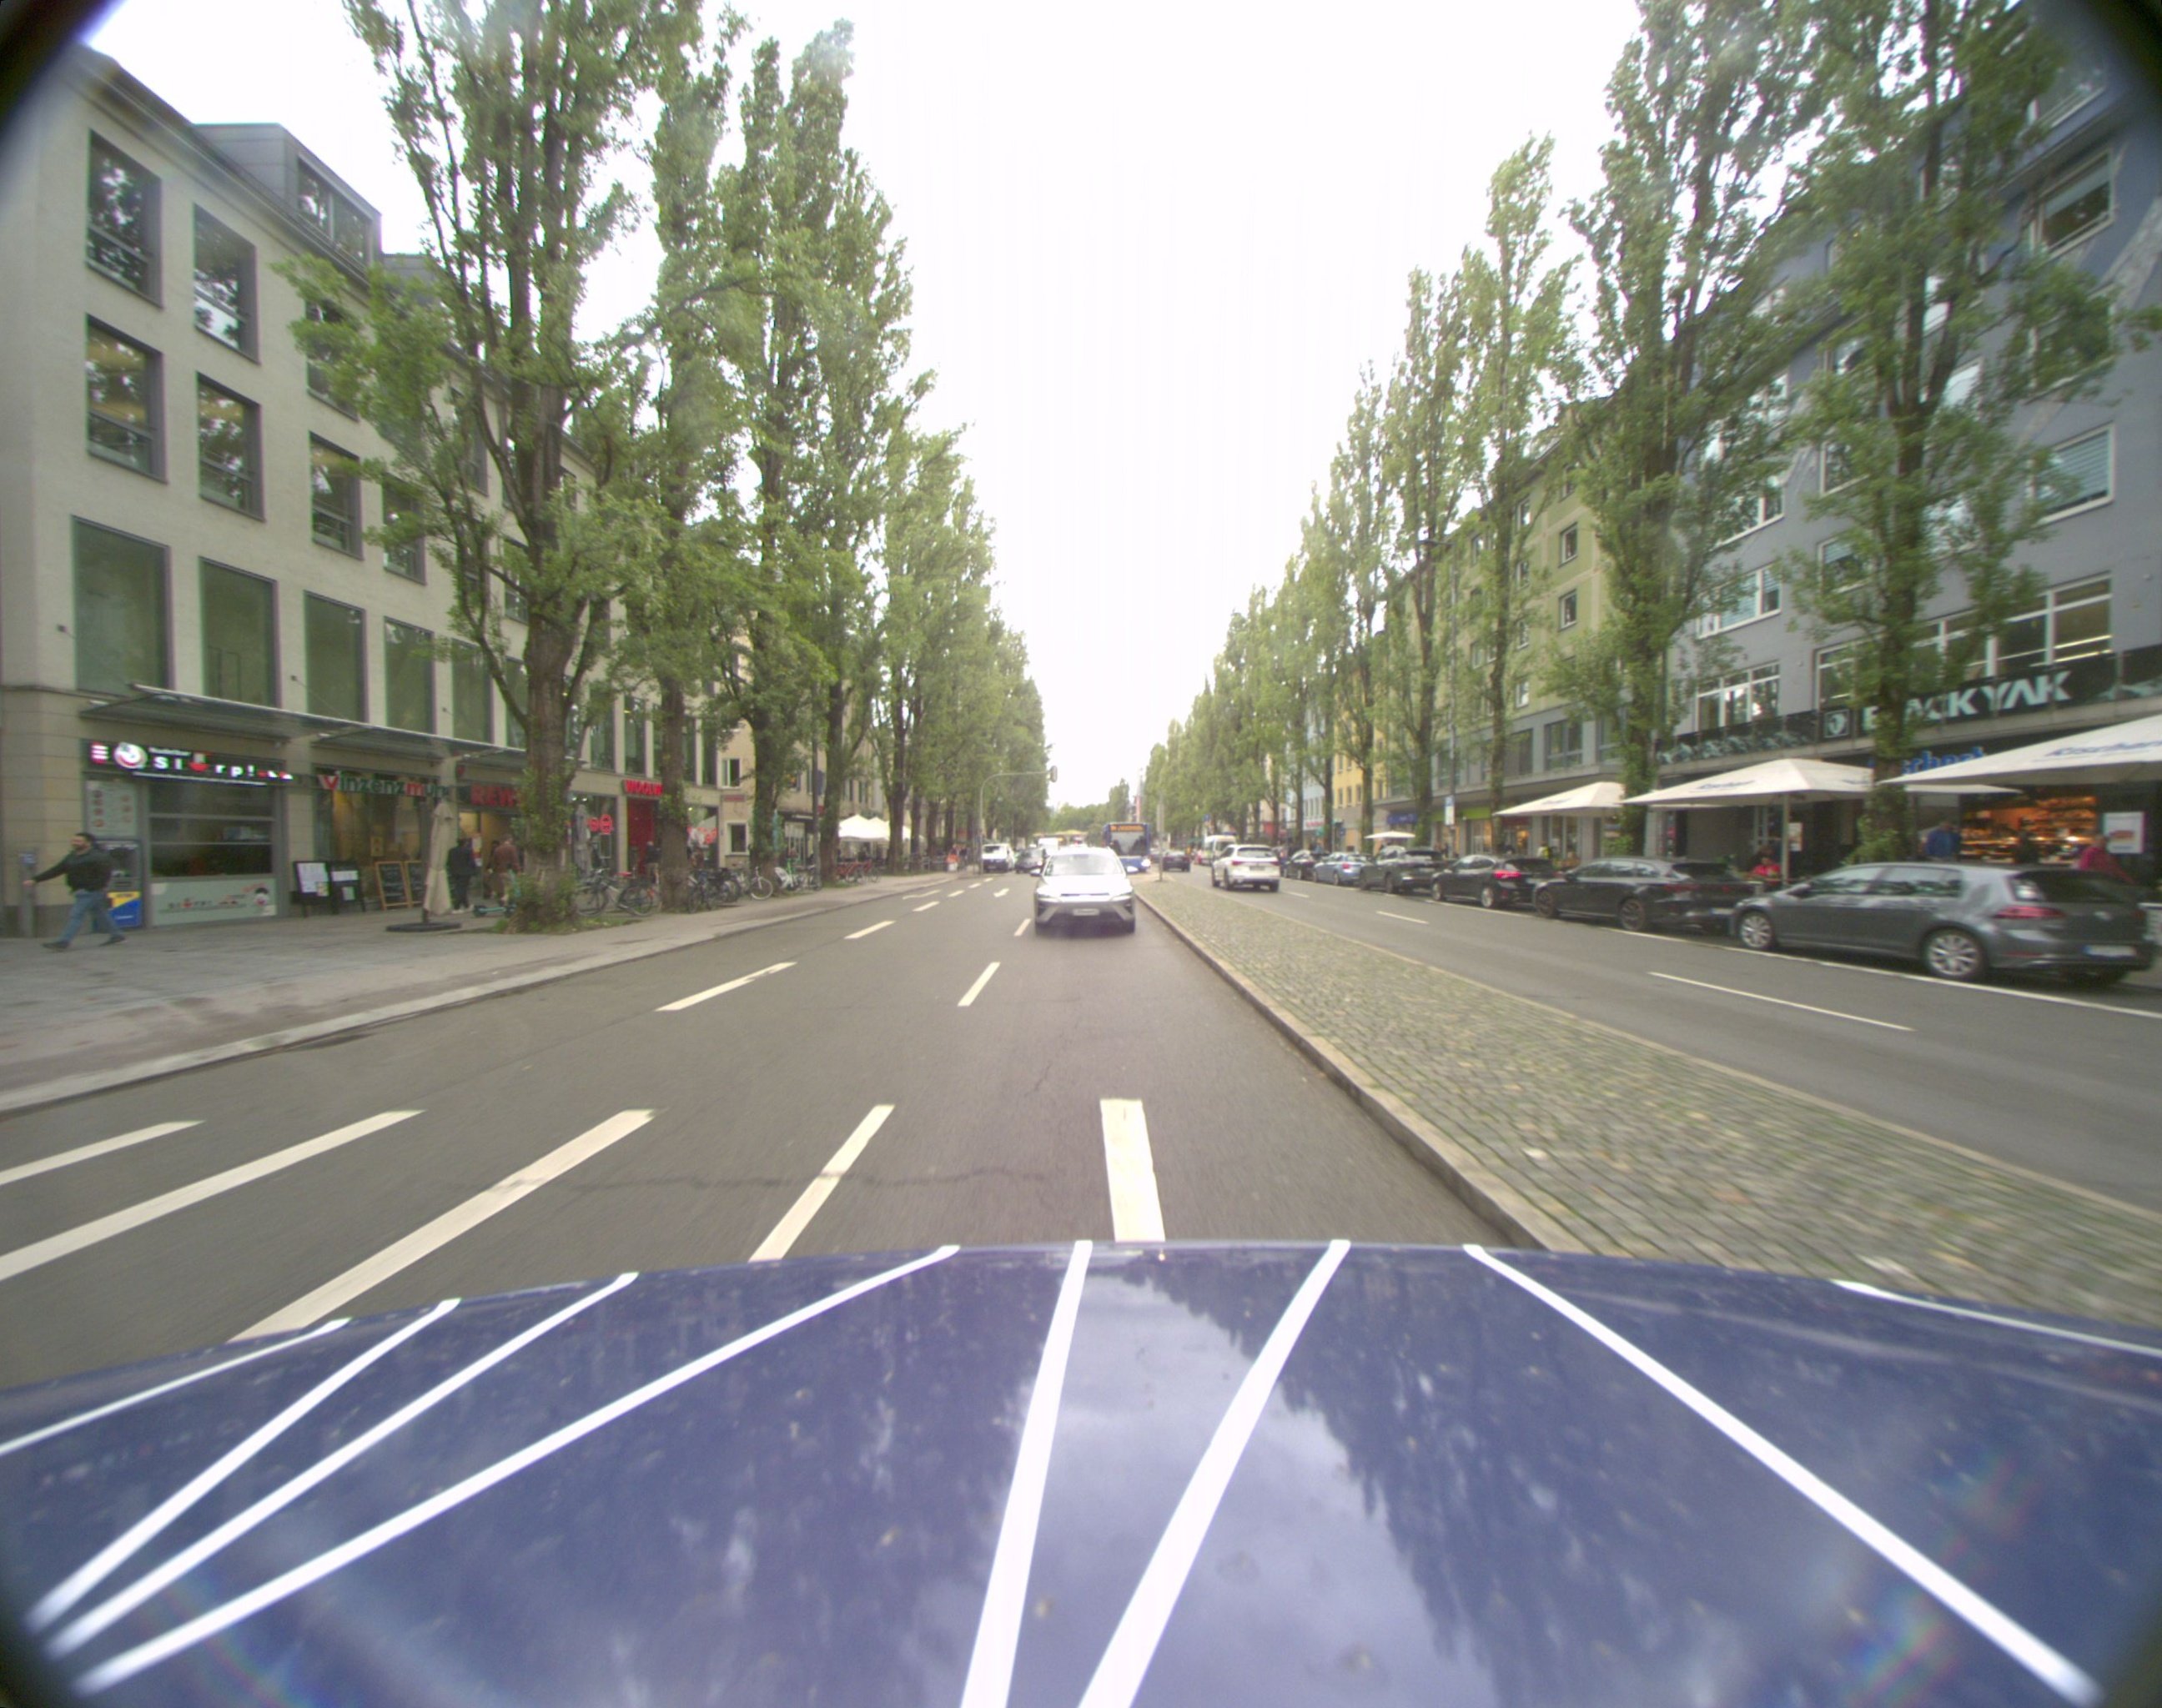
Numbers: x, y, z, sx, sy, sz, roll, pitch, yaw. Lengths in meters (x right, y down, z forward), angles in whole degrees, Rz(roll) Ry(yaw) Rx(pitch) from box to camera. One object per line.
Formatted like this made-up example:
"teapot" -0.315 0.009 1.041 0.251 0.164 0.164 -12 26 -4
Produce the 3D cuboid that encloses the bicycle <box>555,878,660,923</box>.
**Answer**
"bicycle" -10.762 1.040 17.318 2.006 0.940 0.285 -1 2 -16

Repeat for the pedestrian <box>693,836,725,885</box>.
"pedestrian" -14.486 0.249 29.598 0.753 1.859 0.821 0 1 3

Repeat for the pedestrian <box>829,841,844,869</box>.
"pedestrian" -15.305 0.058 47.566 0.629 1.709 0.680 -1 1 1

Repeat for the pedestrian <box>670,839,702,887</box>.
"pedestrian" -15.512 0.353 29.843 0.753 1.843 0.821 -1 1 2

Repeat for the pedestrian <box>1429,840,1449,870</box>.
"pedestrian" 19.258 0.046 40.910 0.723 1.641 0.711 0 1 1

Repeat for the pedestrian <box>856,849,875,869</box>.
"pedestrian" -13.515 0.294 47.704 0.775 1.209 1.023 -1 1 4

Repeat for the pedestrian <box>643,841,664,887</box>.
"pedestrian" -16.906 0.389 30.040 0.596 1.757 0.640 -2 2 -21

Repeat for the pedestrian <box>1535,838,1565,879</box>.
"pedestrian" 20.237 0.195 32.808 0.820 1.745 0.756 -1 1 1

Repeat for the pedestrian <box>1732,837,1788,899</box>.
"pedestrian" 17.772 0.348 19.898 0.755 1.592 0.743 0 1 -1

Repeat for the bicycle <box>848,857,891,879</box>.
"bicycle" -9.913 0.659 35.603 1.844 1.003 0.503 0 1 1

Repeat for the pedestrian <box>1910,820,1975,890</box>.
"pedestrian" 21.811 0.023 19.255 0.742 1.745 0.756 0 1 1

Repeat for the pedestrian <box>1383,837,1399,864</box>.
"pedestrian" 20.355 -0.224 49.846 0.749 1.785 0.715 -1 1 1

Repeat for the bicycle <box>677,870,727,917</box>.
"bicycle" -9.697 0.984 19.519 0.435 1.055 2.004 0 1 -5

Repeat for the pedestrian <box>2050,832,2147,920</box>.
"pedestrian" 18.943 0.393 14.170 0.742 1.592 0.756 0 1 2

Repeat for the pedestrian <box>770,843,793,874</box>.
"pedestrian" -15.739 0.235 39.924 0.764 1.595 1.016 -1 1 1

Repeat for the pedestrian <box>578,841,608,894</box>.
"pedestrian" -16.320 0.435 25.414 0.548 1.757 0.641 -1 1 0

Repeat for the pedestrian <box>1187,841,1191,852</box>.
"pedestrian" 14.889 -1.058 104.856 0.609 1.580 0.551 0 2 11

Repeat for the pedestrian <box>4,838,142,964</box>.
"pedestrian" -15.183 0.660 11.487 0.814 1.804 0.979 -1 2 -21

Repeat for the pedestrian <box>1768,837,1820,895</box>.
"pedestrian" 20.326 0.337 21.680 0.742 1.631 0.756 0 1 2

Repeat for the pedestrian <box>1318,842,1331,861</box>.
"pedestrian" 18.585 -0.219 58.015 0.769 1.430 0.550 0 2 -4

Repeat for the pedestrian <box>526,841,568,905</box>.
"pedestrian" -14.998 0.515 21.349 0.658 1.774 0.674 0 1 2

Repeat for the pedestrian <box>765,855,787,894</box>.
"pedestrian" -12.918 0.856 32.182 0.547 1.639 0.751 -1 1 3

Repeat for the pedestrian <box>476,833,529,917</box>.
"pedestrian" -13.825 0.495 18.176 0.658 1.960 0.722 0 1 3

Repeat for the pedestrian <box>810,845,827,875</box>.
"pedestrian" -14.791 0.336 42.784 0.668 1.654 0.692 -1 1 0

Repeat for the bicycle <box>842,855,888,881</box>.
"bicycle" -9.854 0.641 34.677 1.902 1.120 0.686 -1 1 1

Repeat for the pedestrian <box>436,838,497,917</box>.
"pedestrian" -14.621 0.536 18.105 0.658 1.840 0.905 0 1 2

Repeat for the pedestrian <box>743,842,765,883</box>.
"pedestrian" -13.913 0.364 32.347 0.566 1.732 0.696 -1 1 3

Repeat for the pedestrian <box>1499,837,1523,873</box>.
"pedestrian" 20.220 0.053 35.719 0.710 1.663 0.756 -1 1 1

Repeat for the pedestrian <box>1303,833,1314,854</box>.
"pedestrian" 19.489 -0.888 65.002 0.732 1.755 0.723 0 1 -1

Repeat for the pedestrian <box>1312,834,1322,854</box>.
"pedestrian" 20.242 -0.885 65.162 0.640 1.694 0.724 0 1 0

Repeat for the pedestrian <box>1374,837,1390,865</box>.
"pedestrian" 19.726 -0.205 49.842 0.749 1.785 0.715 -1 1 1

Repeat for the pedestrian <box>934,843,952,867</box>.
"pedestrian" -10.400 0.088 57.256 0.941 1.756 0.837 0 2 38

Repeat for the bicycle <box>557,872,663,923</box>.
"bicycle" -10.528 0.969 17.028 2.006 1.077 0.285 -1 2 -16

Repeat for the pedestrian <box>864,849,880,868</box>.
"pedestrian" -13.474 0.268 48.980 0.667 1.209 1.023 -1 1 4

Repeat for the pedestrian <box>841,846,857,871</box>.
"pedestrian" -14.610 0.271 47.893 0.696 1.568 0.874 -1 1 1

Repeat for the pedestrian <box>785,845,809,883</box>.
"pedestrian" -12.169 0.414 32.544 0.711 1.580 0.793 1 1 -2

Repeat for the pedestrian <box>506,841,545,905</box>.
"pedestrian" -15.736 0.524 21.533 0.566 1.774 0.674 0 1 2
